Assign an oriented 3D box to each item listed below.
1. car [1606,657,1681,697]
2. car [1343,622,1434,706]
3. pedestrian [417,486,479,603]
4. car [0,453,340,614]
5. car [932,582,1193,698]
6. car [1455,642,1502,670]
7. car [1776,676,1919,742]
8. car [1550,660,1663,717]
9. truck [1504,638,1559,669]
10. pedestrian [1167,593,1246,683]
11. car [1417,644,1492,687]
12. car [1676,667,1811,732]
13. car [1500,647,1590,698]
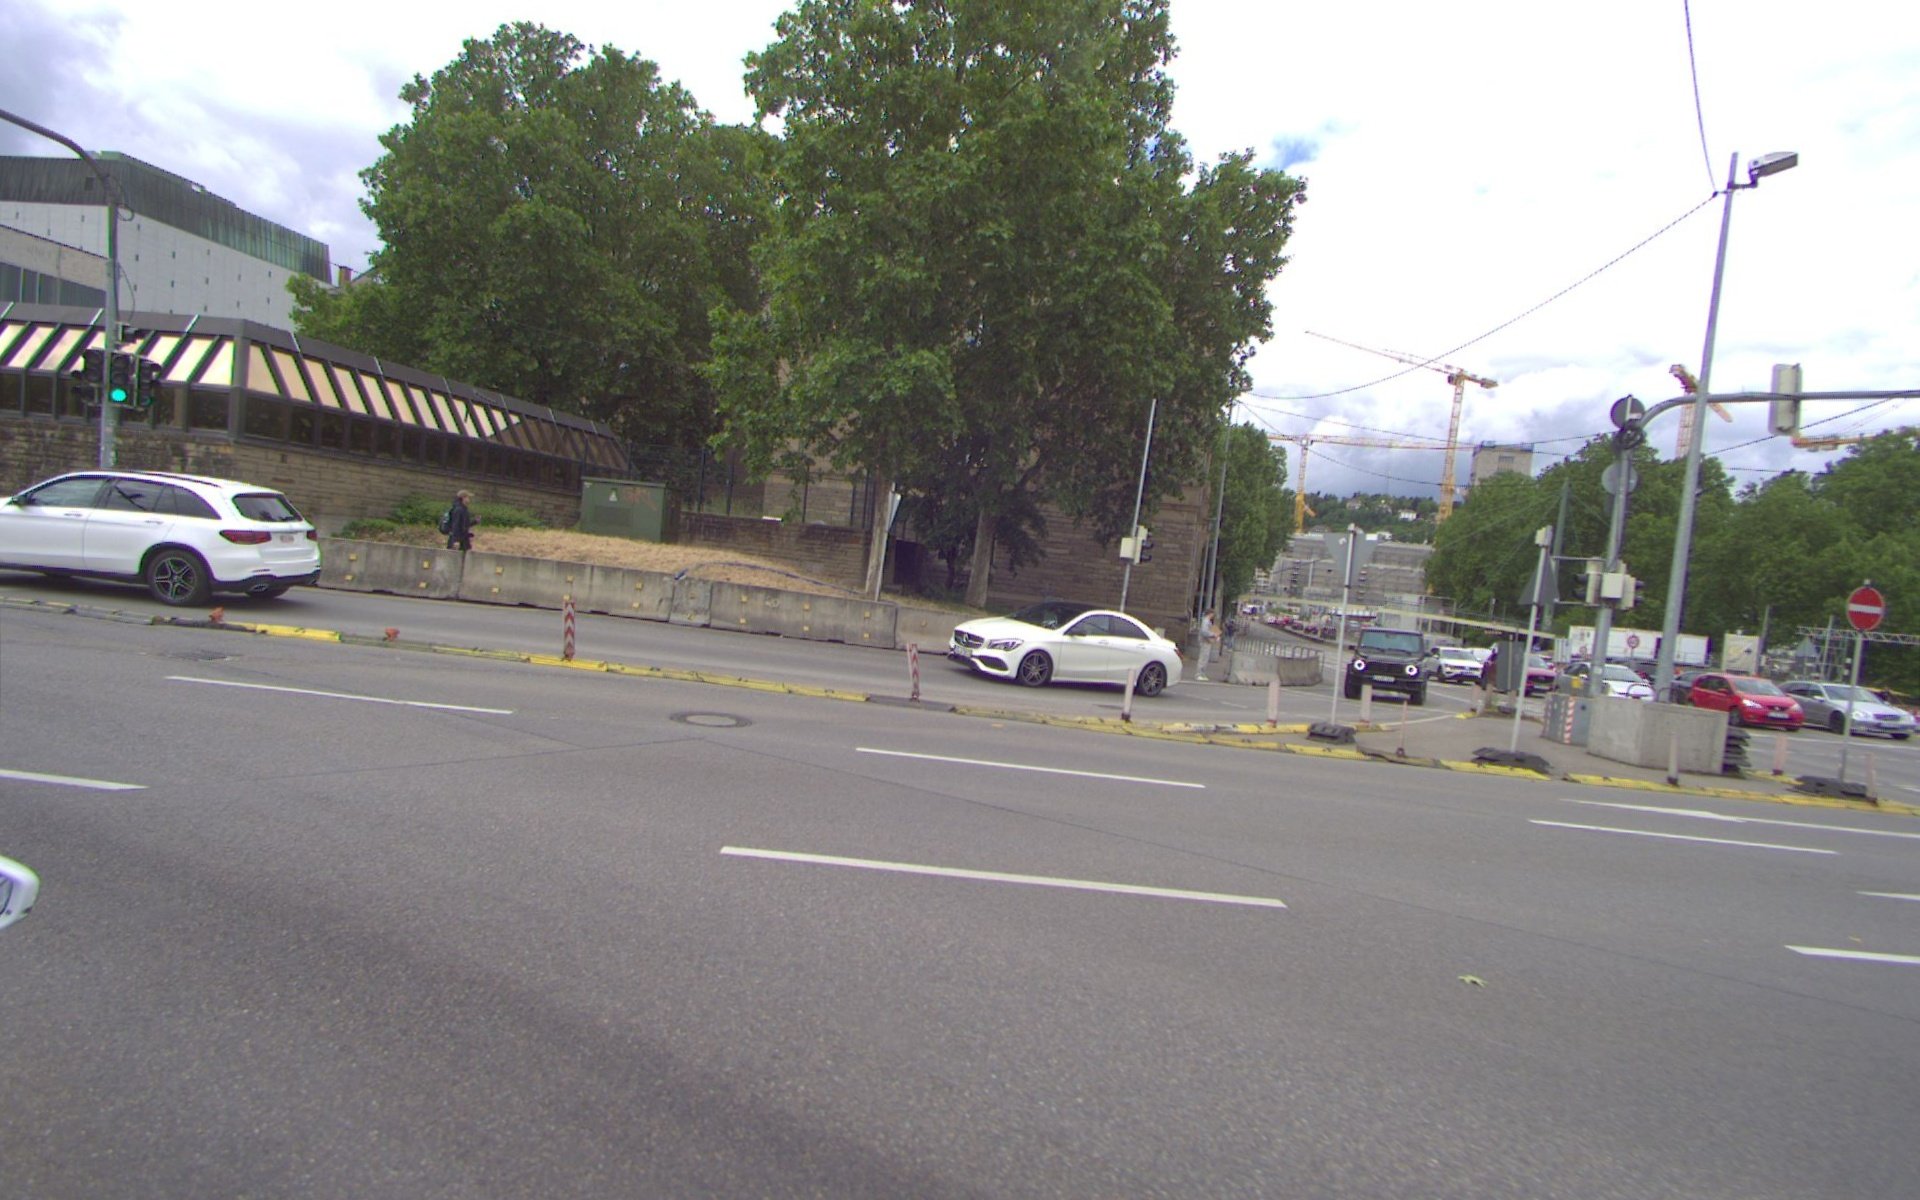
[{"bbox_3d":[36.438,4.093,53.729,1.907,1.688,3.642,6,1,12],"label":"car"},{"bbox_3d":[11.738,1.716,27.420,1.905,1.962,3.668,5,0,27],"label":"car"},{"bbox_3d":[-9.469,-1.013,18.621,0.839,2.040,0.619,5,2,-22],"label":"pedestrian"},{"bbox_3d":[-11.144,-0.935,13.452,4.469,1.666,1.813,6,4,-3],"label":"car"},{"bbox_3d":[1.856,0.728,17.580,4.341,1.453,1.723,8,1,-35],"label":"car"},{"bbox_3d":[38.453,4.118,74.701,1.730,1.709,3.642,6,1,7],"label":"car"},{"bbox_3d":[26.039,3.132,29.577,1.662,1.454,3.447,4,1,11],"label":"car"},{"bbox_3d":[20.285,2.734,31.713,1.633,1.453,3.448,4,0,9],"label":"car"},{"bbox_3d":[41.140,3.836,72.555,1.904,1.704,4.010,7,3,8],"label":"truck"},{"bbox_3d":[6.032,0.925,24.693,1.180,2.040,1.195,5,2,-29],"label":"pedestrian"},{"bbox_3d":[22.527,2.956,45.953,1.803,1.588,4.000,5,0,8],"label":"car"},{"bbox_3d":[23.180,2.908,29.935,1.659,1.454,3.446,5,1,11],"label":"car"},{"bbox_3d":[21.959,2.673,37.925,1.634,1.454,3.446,7,1,9],"label":"car"}]
